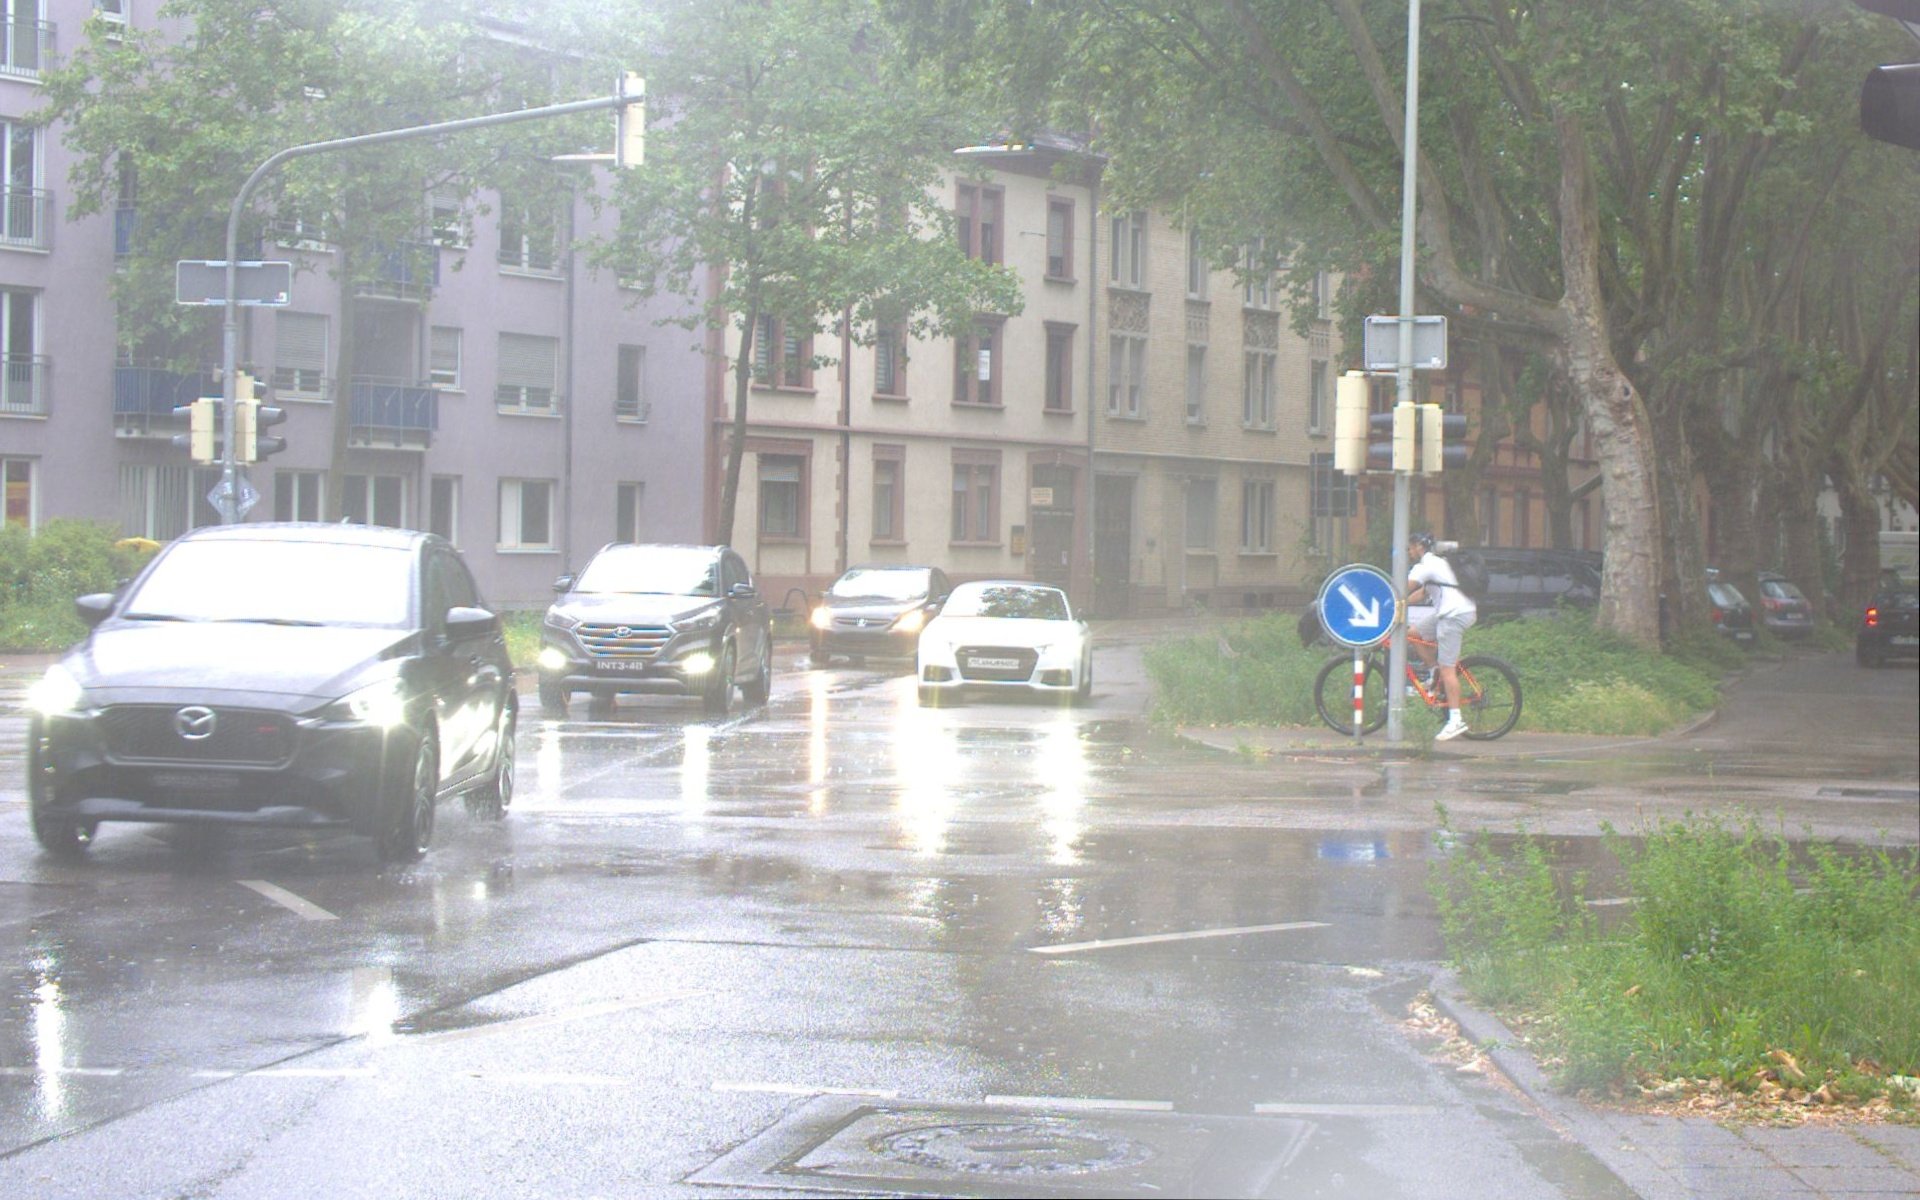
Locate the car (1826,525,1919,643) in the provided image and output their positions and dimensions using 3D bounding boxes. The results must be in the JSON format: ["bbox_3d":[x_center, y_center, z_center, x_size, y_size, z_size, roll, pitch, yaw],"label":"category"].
[{"bbox_3d":[24.387,-0.417,87.717,2.033,2.938,4.773,1,1,-21],"label":"car"}]

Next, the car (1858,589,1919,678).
[{"bbox_3d":[16.604,0.561,59.497,1.683,1.469,3.659,1,1,20],"label":"car"}]

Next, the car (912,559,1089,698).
[{"bbox_3d":[0.485,0.281,39.163,1.884,1.431,4.000,1,1,1],"label":"car"}]

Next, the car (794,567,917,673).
[{"bbox_3d":[-1.506,0.265,50.115,1.714,1.454,3.748,1,1,-1],"label":"car"}]

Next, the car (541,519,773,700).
[{"bbox_3d":[-2.998,0.049,34.851,1.803,1.677,4.603,1,1,1],"label":"car"}]

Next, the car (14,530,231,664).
[{"bbox_3d":[-10.050,-0.067,41.496,1.751,1.506,3.839,1,1,-2],"label":"car"}]

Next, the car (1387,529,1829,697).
[{"bbox_3d":[6.165,0.101,32.704,3.989,1.481,1.999,1,1,12],"label":"car"}]

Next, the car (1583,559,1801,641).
[{"bbox_3d":[13.929,-0.016,65.442,3.989,1.481,1.999,1,1,12],"label":"car"}]

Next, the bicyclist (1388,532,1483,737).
[{"bbox_3d":[4.194,0.296,30.363,0.795,1.780,0.697,1,0,8],"label":"bicyclist"}]

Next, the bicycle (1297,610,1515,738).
[{"bbox_3d":[3.937,0.643,30.398,1.873,1.077,0.657,1,0,8],"label":"bicycle"}]

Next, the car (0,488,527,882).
[{"bbox_3d":[-3.148,0.310,16.227,1.751,1.586,4.235,1,1,-2],"label":"car"}]
